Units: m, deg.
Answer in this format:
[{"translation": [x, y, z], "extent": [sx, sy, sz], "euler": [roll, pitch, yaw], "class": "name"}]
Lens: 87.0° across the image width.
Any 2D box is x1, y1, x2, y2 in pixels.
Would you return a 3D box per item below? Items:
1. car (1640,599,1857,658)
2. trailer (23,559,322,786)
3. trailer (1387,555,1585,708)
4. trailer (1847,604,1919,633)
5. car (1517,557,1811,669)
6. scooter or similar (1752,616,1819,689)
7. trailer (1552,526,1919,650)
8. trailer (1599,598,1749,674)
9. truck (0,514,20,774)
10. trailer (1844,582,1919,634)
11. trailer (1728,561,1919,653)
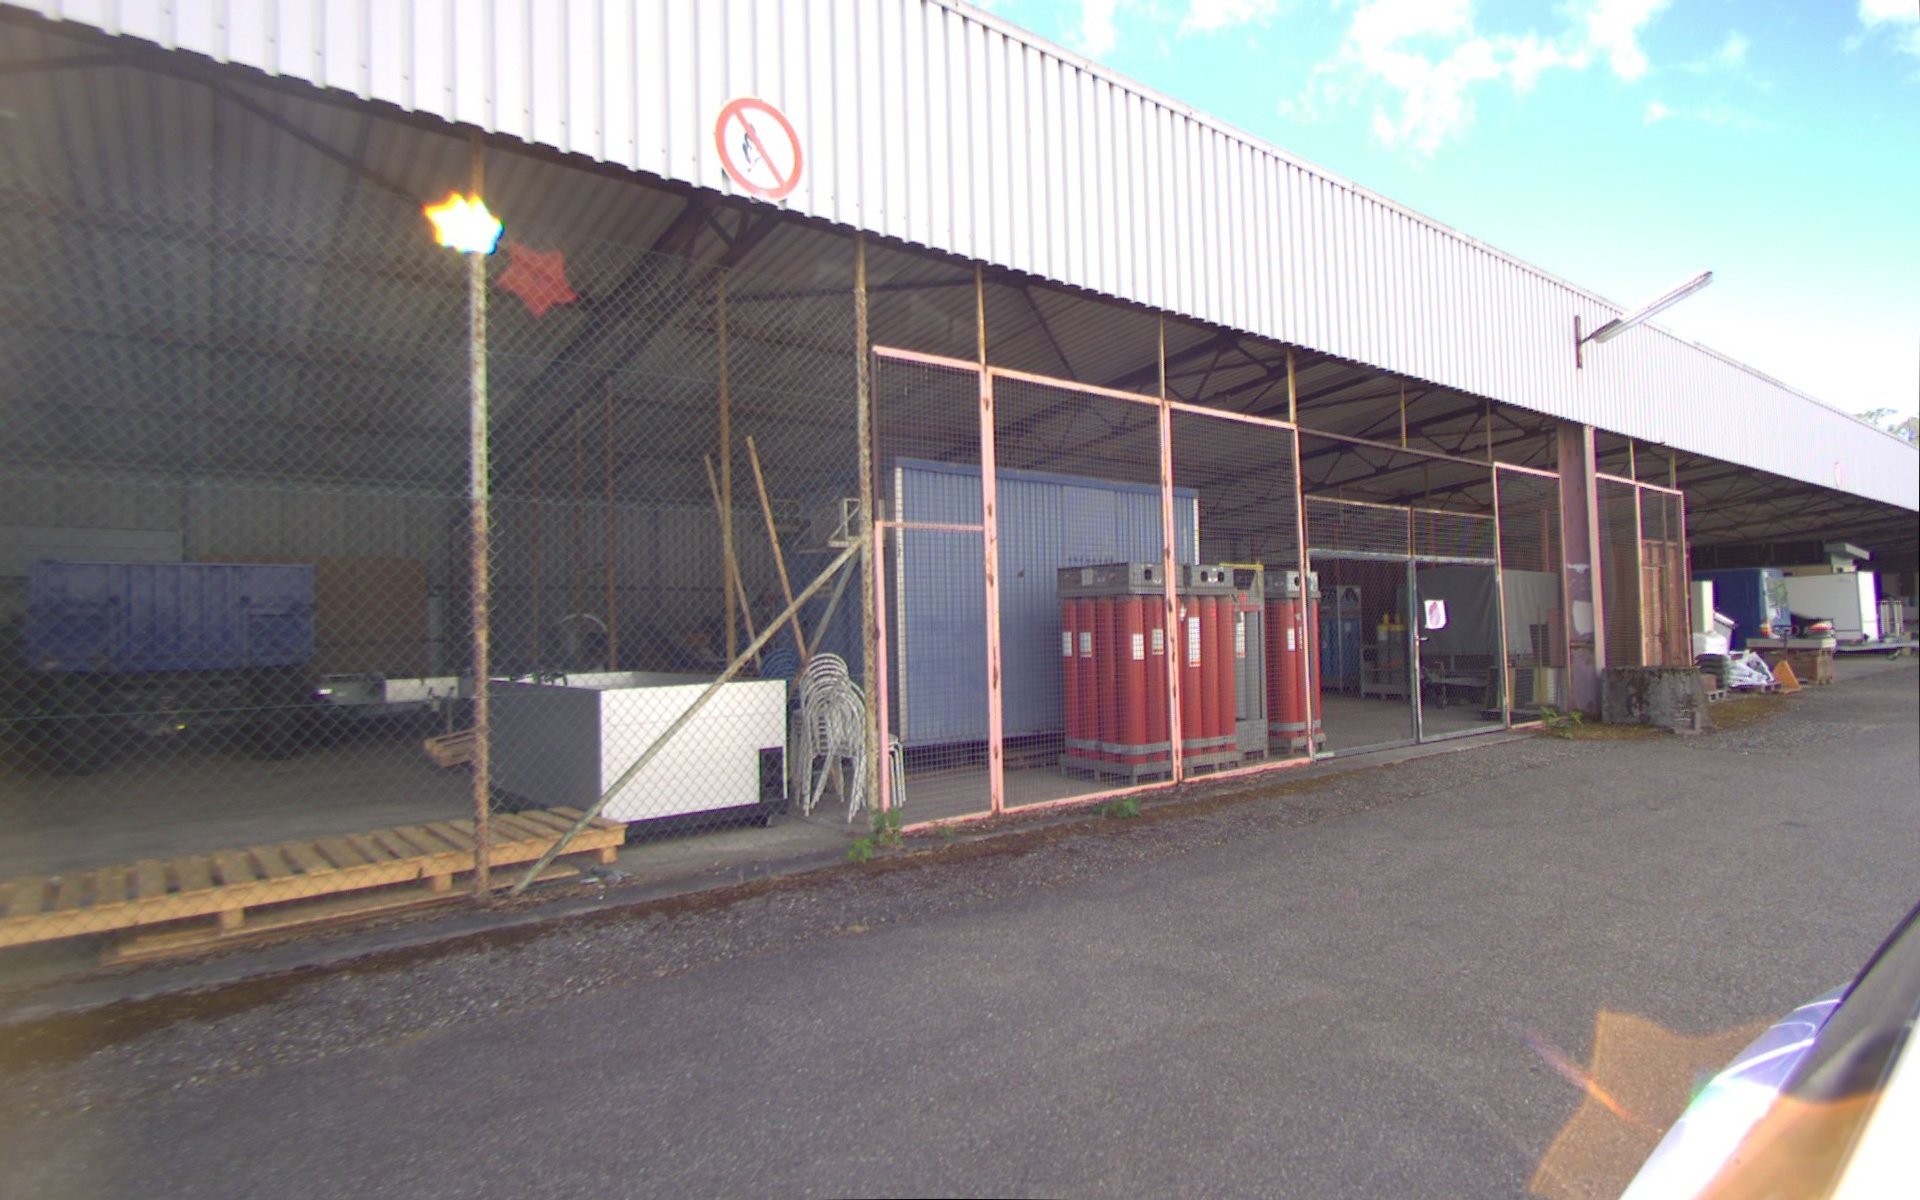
[{"translation": [21.244, 0.745, 27.422], "extent": [1.832, 1.452, 4.351], "euler": [-1, -1, -40], "class": "car"}, {"translation": [-8.963, 0.739, 11.803], "extent": [2.417, 2.165, 3.414], "euler": [0, -2, -35], "class": "trailer"}, {"translation": [8.435, 0.437, 16.126], "extent": [3.460, 2.170, 1.580], "euler": [-1, -1, -41], "class": "trailer"}, {"translation": [40.380, 0.727, 41.519], "extent": [1.972, 1.148, 5.746], "euler": [0, -2, -38], "class": "trailer"}, {"translation": [16.315, 0.347, 23.758], "extent": [2.046, 2.327, 5.227], "euler": [-1, -2, -38], "class": "car"}, {"translation": [14.094, 0.872, 17.268], "extent": [1.563, 1.149, 0.521], "euler": [-1, -1, -38], "class": "scooter or similar"}, {"translation": [24.506, -0.271, 31.449], "extent": [2.625, 3.337, 10.321], "euler": [0, -1, -36], "class": "trailer"}, {"translation": [14.982, 0.741, 21.277], "extent": [1.610, 1.481, 2.100], "euler": [-1, -1, -34], "class": "trailer"}, {"translation": [-10.253, 0.428, 8.912], "extent": [2.322, 2.741, 5.579], "euler": [0, -2, -37], "class": "truck"}, {"translation": [37.883, 0.283, 39.399], "extent": [2.008, 2.022, 4.833], "euler": [-1, -1, -34], "class": "trailer"}, {"translation": [24.149, 0.203, 27.799], "extent": [1.657, 2.365, 4.554], "euler": [0, -1, -36], "class": "trailer"}]
